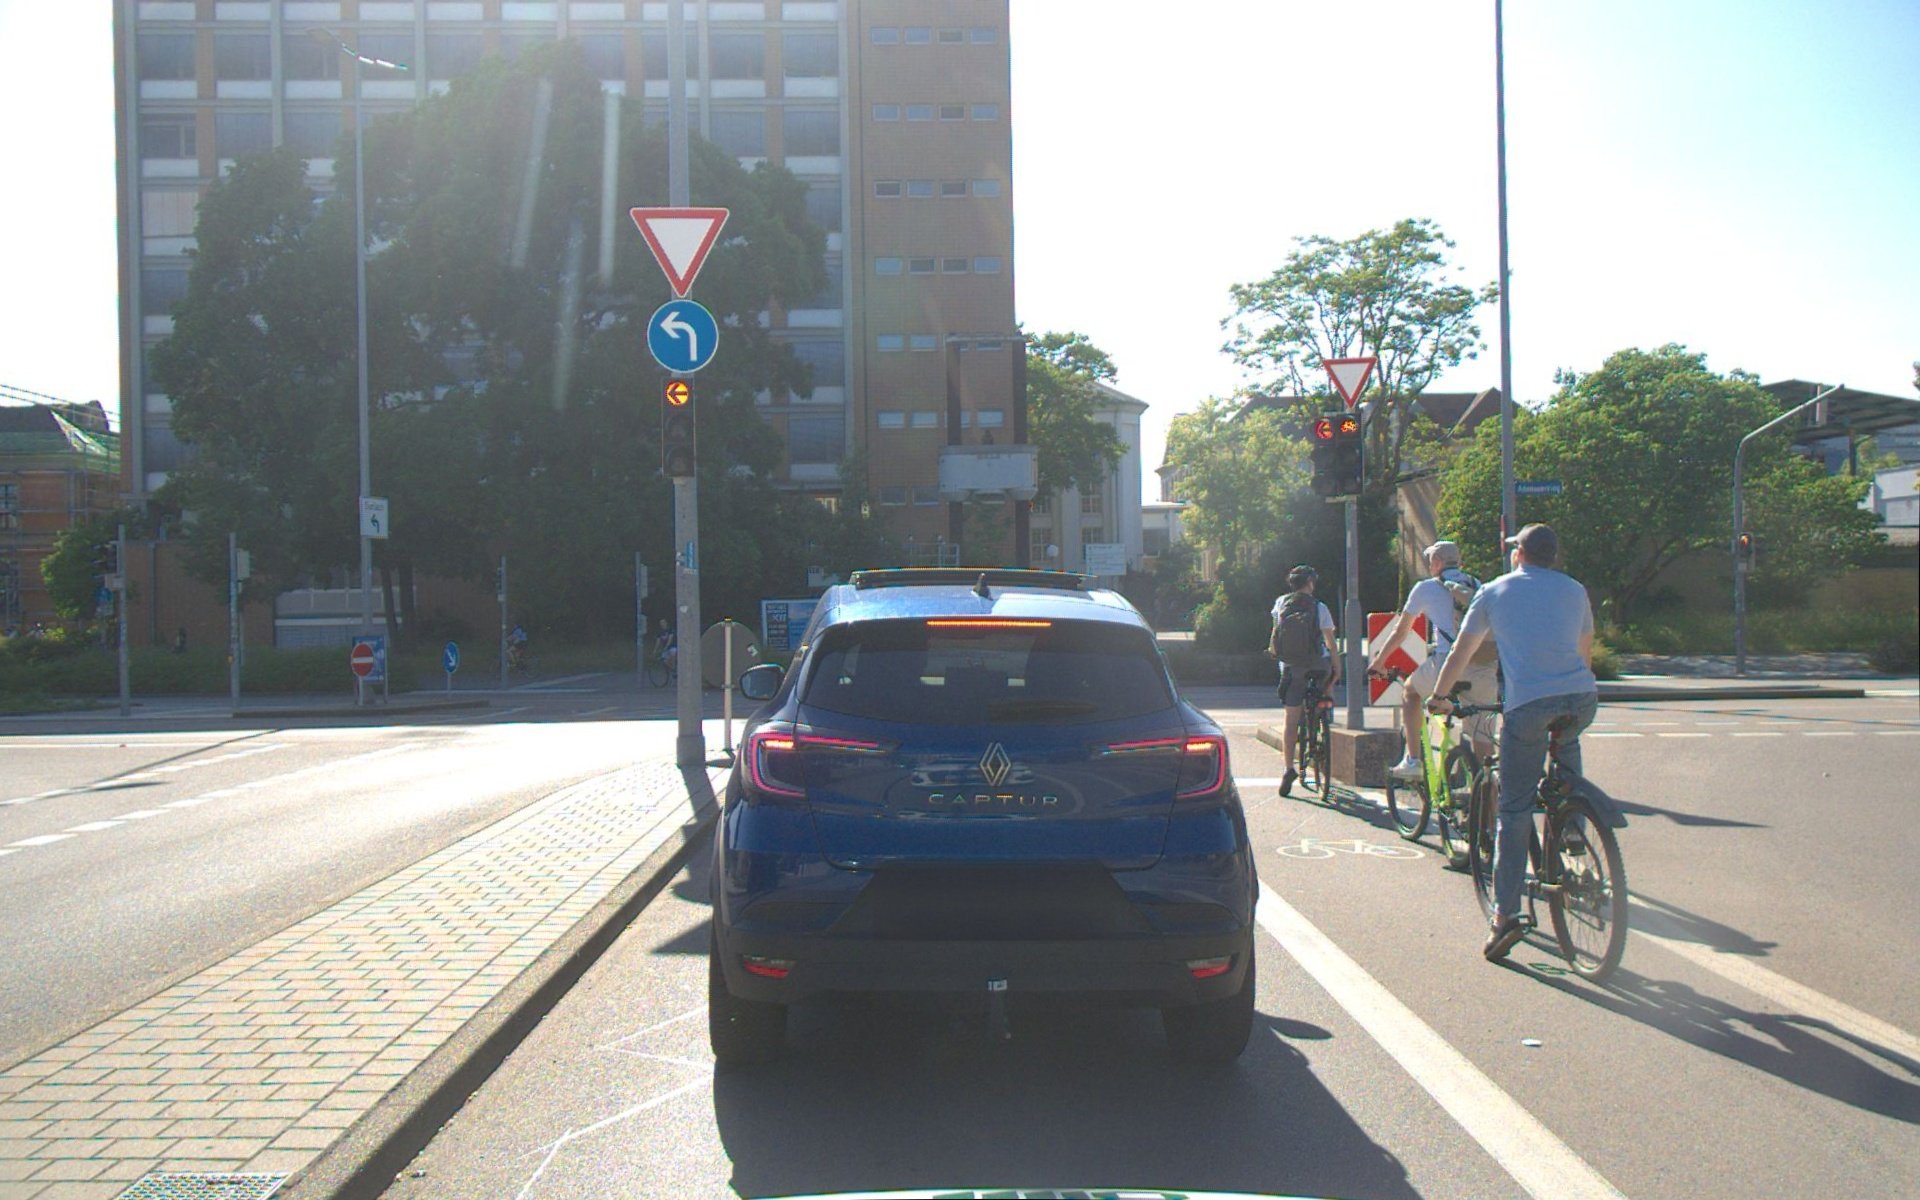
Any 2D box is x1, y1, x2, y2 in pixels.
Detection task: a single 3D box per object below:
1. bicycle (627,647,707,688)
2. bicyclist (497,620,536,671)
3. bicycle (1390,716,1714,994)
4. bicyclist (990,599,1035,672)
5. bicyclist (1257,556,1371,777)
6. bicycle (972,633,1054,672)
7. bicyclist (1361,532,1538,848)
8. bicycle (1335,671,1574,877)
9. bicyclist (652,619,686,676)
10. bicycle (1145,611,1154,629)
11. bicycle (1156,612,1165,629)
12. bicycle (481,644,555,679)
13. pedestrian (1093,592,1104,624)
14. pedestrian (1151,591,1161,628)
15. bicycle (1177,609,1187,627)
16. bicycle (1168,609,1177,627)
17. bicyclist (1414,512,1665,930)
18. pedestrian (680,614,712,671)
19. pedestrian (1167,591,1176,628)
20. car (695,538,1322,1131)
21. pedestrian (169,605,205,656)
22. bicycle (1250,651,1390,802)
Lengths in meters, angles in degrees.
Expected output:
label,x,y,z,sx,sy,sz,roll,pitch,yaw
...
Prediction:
label,x,y,z,sx,sy,sz,roll,pitch,yaw
bicycle,-7.717,1.766,43.617,1.982,0.981,0.593,-1,0,-28
bicyclist,-12.983,1.333,48.403,0.916,1.454,0.599,-1,0,14
bicycle,2.506,1.037,7.272,0.725,0.911,1.978,1,0,0
bicyclist,1.383,0.927,43.809,1.078,1.900,0.653,-1,0,10
bicyclist,2.762,0.501,12.974,0.711,1.657,0.969,1,0,3
bicycle,1.405,1.382,43.641,2.037,0.946,0.697,-2,1,10
bicyclist,2.885,0.509,9.840,0.633,1.769,1.065,1,0,-6
bicycle,2.874,0.977,9.843,0.646,1.020,1.967,1,0,-6
bicyclist,-7.669,1.243,43.644,0.728,1.466,0.593,-1,0,-27
bicycle,10.797,1.151,94.221,0.397,0.990,1.684,1,0,3
bicycle,11.406,1.161,94.187,0.397,0.990,1.684,1,0,3
bicycle,-12.934,1.799,48.388,2.032,0.981,0.599,-1,0,14
pedestrian,8.340,0.467,99.588,0.610,1.888,0.563,-1,0,3
pedestrian,10.799,0.521,91.194,0.465,2.049,0.523,-1,0,5
bicycle,12.682,1.038,94.588,0.397,0.990,1.684,1,0,3
bicycle,12.158,1.029,94.566,0.397,0.990,1.684,1,0,3
bicyclist,2.511,0.496,7.269,0.736,1.698,1.016,1,0,0
pedestrian,-7.643,1.232,47.935,0.721,1.631,0.599,-1,0,12
pedestrian,11.829,0.545,92.561,0.465,2.049,0.468,-1,0,5
car,0.064,0.667,6.680,1.767,1.660,3.998,1,0,-3
pedestrian,-25.157,0.993,53.822,0.842,1.598,0.559,-4,0,22
bicycle,2.764,0.936,12.922,0.723,1.012,2.174,1,0,3
